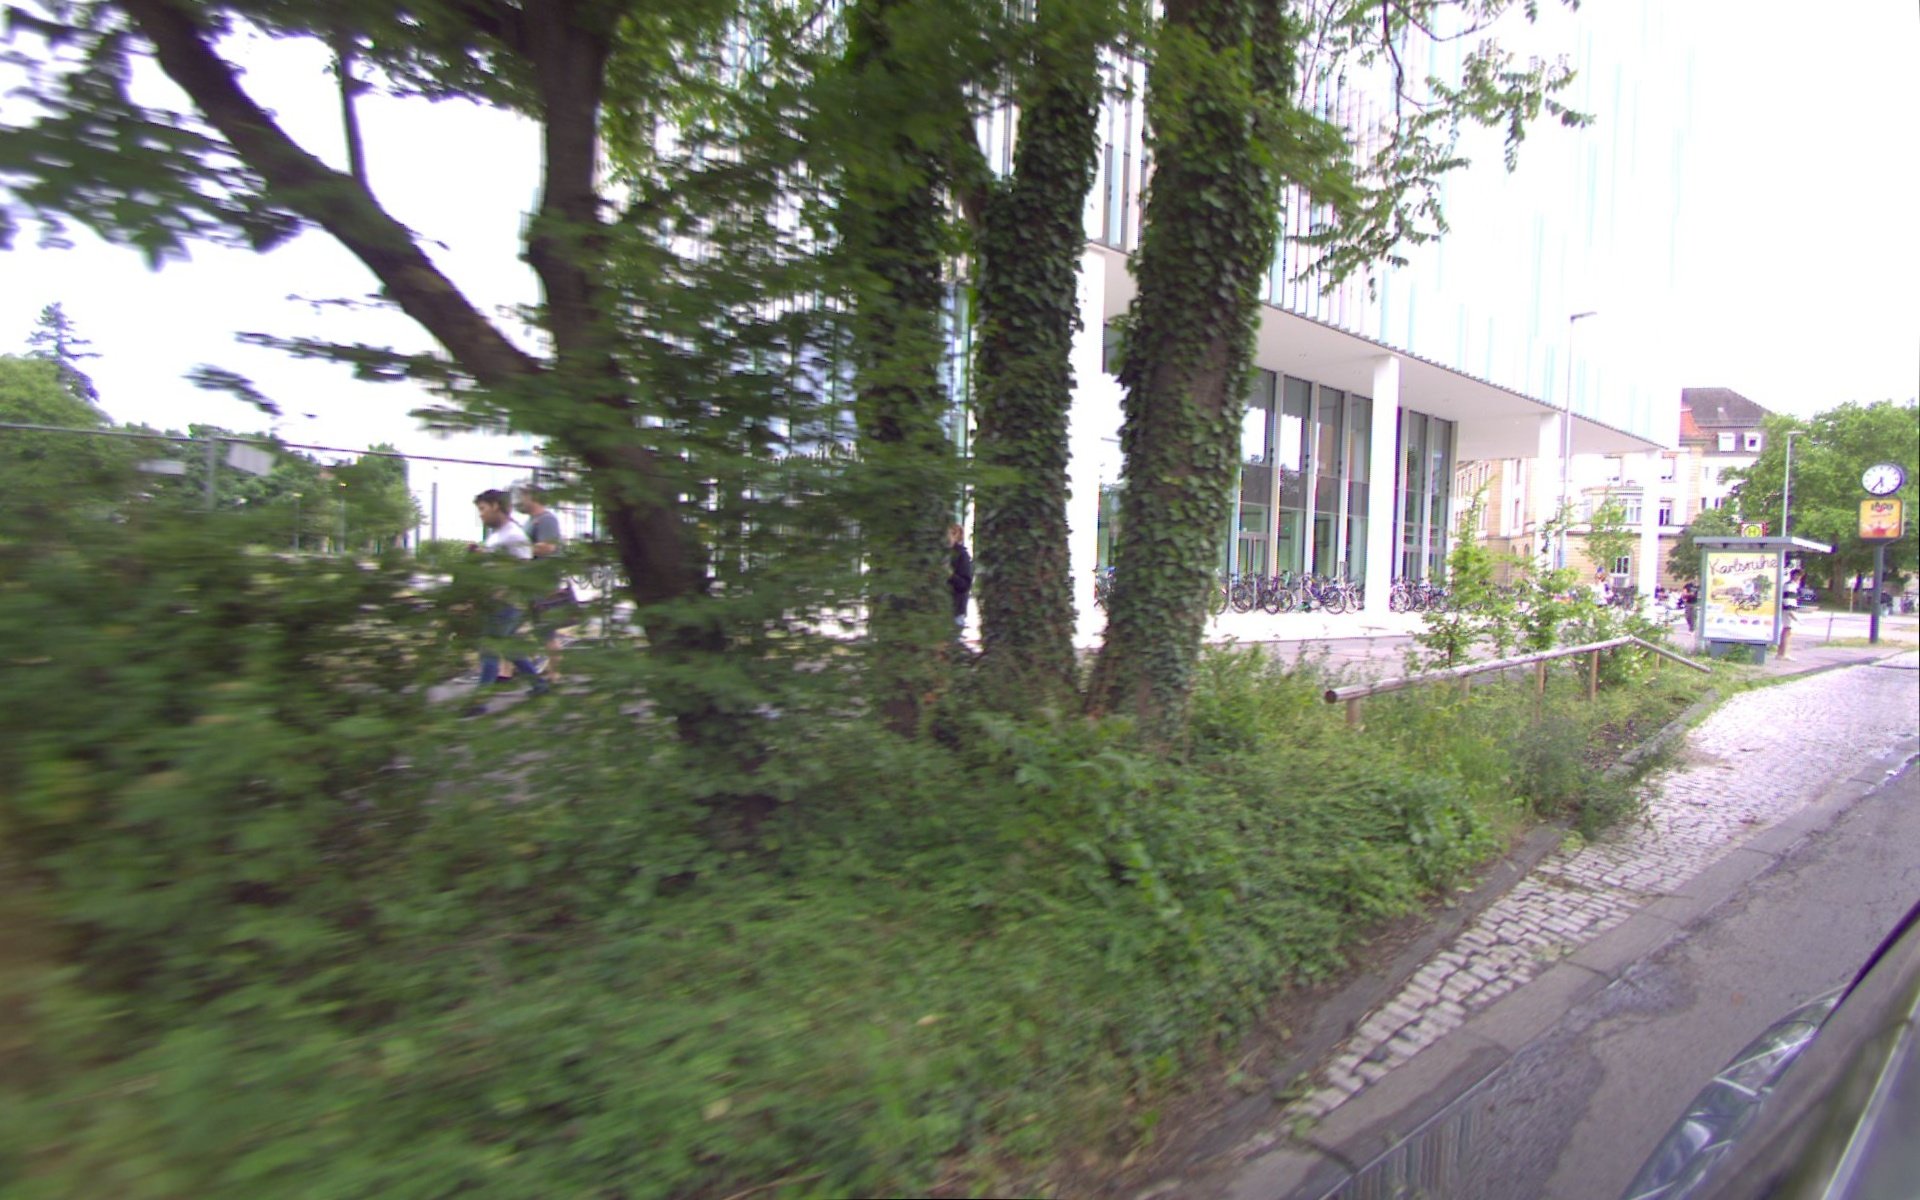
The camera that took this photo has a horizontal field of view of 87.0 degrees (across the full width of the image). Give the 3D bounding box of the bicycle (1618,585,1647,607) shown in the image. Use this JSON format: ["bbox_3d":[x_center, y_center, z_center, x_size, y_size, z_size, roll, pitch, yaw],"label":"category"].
[{"bbox_3d":[33.804,-0.185,50.837,1.806,1.075,0.640,0,0,-36],"label":"bicycle"}]

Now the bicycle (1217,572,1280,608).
[{"bbox_3d":[7.825,-0.283,27.523,0.507,0.895,1.607,1,2,-40],"label":"bicycle"}]

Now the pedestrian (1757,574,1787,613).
[{"bbox_3d":[44.339,-0.355,55.297,1.177,2.088,1.121,1,0,35],"label":"pedestrian"}]

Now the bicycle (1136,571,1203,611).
[{"bbox_3d":[5.153,-0.241,24.976,0.546,0.885,1.610,1,3,-39],"label":"bicycle"}]

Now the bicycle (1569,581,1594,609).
[{"bbox_3d":[25.675,-0.198,41.780,0.606,1.093,1.936,6,4,37],"label":"bicycle"}]

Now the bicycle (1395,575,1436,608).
[{"bbox_3d":[15.693,-0.304,34.884,0.426,1.062,1.203,1,3,-34],"label":"bicycle"}]

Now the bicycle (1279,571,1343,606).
[{"bbox_3d":[9.874,-0.320,28.505,0.546,0.885,1.610,1,3,-39],"label":"bicycle"}]

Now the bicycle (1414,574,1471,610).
[{"bbox_3d":[16.754,-0.287,35.198,0.561,1.115,1.650,1,4,-37],"label":"bicycle"}]

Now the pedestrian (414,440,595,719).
[{"bbox_3d":[-3.634,-0.171,8.074,1.023,2.038,0.926,0,3,-45],"label":"pedestrian"}]

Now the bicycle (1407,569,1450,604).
[{"bbox_3d":[17.650,-0.530,38.181,0.636,1.158,1.989,4,3,0],"label":"bicycle"}]

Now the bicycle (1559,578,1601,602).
[{"bbox_3d":[37.191,-0.614,60.748,1.991,1.322,0.639,5,1,29],"label":"bicycle"}]

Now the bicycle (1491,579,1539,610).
[{"bbox_3d":[20.768,-0.210,37.858,0.549,1.056,1.404,1,4,-40],"label":"bicycle"}]

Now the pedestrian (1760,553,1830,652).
[{"bbox_3d":[18.126,0.057,21.967,0.839,2.038,0.914,3,2,-42],"label":"pedestrian"}]

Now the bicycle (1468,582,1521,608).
[{"bbox_3d":[19.716,-0.186,37.331,0.546,0.885,1.610,1,3,-39],"label":"bicycle"}]

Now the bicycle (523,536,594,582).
[{"bbox_3d":[-13.017,-1.335,32.818,2.006,1.411,0.670,1,2,-37],"label":"bicycle"}]

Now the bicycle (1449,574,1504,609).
[{"bbox_3d":[18.824,-0.327,36.892,0.561,1.104,1.652,1,5,-32],"label":"bicycle"}]

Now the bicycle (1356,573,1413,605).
[{"bbox_3d":[13.984,-0.372,33.374,0.506,0.958,1.698,1,2,-34],"label":"bicycle"}]

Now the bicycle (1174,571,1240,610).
[{"bbox_3d":[6.336,-0.257,26.015,0.546,0.885,1.610,1,3,-39],"label":"bicycle"}]

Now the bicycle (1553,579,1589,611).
[{"bbox_3d":[23.917,-0.207,39.586,0.636,1.154,2.165,7,5,44],"label":"bicycle"}]

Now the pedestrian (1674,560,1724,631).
[{"bbox_3d":[21.992,-0.142,30.118,0.878,2.037,0.845,1,4,-39],"label":"pedestrian"}]

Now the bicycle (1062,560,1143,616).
[{"bbox_3d":[3.190,-0.286,22.793,0.615,1.094,1.798,1,5,-42],"label":"bicycle"}]

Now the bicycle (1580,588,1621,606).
[{"bbox_3d":[36.291,-0.191,57.377,1.811,0.910,0.672,2,2,1],"label":"bicycle"}]

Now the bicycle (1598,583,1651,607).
[{"bbox_3d":[34.781,-0.276,52.963,2.146,1.129,0.735,3,2,7],"label":"bicycle"}]

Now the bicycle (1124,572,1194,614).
[{"bbox_3d":[4.717,-0.170,24.023,0.546,0.885,1.610,1,3,-39],"label":"bicycle"}]

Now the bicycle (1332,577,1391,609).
[{"bbox_3d":[11.896,-0.220,30.009,0.546,0.844,1.536,1,3,-39],"label":"bicycle"}]

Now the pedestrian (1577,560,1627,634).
[{"bbox_3d":[16.778,-0.092,26.461,0.879,1.858,0.843,0,2,-44],"label":"pedestrian"}]

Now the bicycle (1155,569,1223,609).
[{"bbox_3d":[5.688,-0.284,25.234,0.546,0.885,1.611,1,4,-39],"label":"bicycle"}]

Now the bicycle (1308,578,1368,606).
[{"bbox_3d":[11.177,-0.244,29.934,0.546,0.725,1.564,1,3,-39],"label":"bicycle"}]

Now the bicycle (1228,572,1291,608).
[{"bbox_3d":[8.243,-0.286,27.894,0.546,0.885,1.610,1,4,-39],"label":"bicycle"}]

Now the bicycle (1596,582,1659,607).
[{"bbox_3d":[35.648,-0.284,54.073,2.674,1.202,0.773,3,2,8],"label":"bicycle"}]

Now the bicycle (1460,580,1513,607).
[{"bbox_3d":[19.112,-0.251,36.776,0.546,0.885,1.611,1,3,-37],"label":"bicycle"}]

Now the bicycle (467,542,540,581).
[{"bbox_3d":[-17.449,-1.459,38.721,2.425,1.411,0.817,1,2,-37],"label":"bicycle"}]

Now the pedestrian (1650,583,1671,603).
[{"bbox_3d":[46.167,-0.476,66.674,0.862,1.273,0.911,1,0,-37],"label":"pedestrian"}]

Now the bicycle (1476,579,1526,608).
[{"bbox_3d":[20.892,-0.253,39.116,0.557,0.947,1.615,2,4,-30],"label":"bicycle"}]

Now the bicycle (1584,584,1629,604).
[{"bbox_3d":[36.090,-0.364,56.524,1.927,1.014,0.773,3,2,8],"label":"bicycle"}]

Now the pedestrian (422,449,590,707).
[{"bbox_3d":[-3.904,-0.199,8.703,1.023,2.038,0.926,0,3,-45],"label":"pedestrian"}]

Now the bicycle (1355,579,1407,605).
[{"bbox_3d":[13.651,-0.259,32.830,0.546,0.755,1.438,1,3,-39],"label":"bicycle"}]

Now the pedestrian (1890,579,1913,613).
[{"bbox_3d":[58.207,-0.247,62.555,0.878,2.038,0.845,1,2,-39],"label":"pedestrian"}]

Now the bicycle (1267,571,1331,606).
[{"bbox_3d":[9.423,-0.323,28.141,0.546,0.885,1.610,1,3,-39],"label":"bicycle"}]

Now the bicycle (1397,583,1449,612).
[{"bbox_3d":[15.912,-0.109,34.792,0.360,0.907,1.610,1,3,-39],"label":"bicycle"}]

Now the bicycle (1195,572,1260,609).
[{"bbox_3d":[7.102,-0.271,26.922,0.546,0.885,1.610,1,3,-39],"label":"bicycle"}]

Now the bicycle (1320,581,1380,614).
[{"bbox_3d":[11.099,-0.079,28.831,0.546,0.849,1.458,1,3,-39],"label":"bicycle"}]

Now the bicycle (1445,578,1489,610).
[{"bbox_3d":[17.940,-0.218,35.818,0.539,1.020,1.247,1,3,-36],"label":"bicycle"}]

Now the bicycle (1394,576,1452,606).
[{"bbox_3d":[15.022,-0.292,32.863,0.546,0.885,1.610,1,3,-39],"label":"bicycle"}]

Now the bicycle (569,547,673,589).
[{"bbox_3d":[-10.137,-0.957,30.321,2.739,1.143,1.034,1,3,-37],"label":"bicycle"}]

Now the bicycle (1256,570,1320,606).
[{"bbox_3d":[8.986,-0.326,27.770,0.546,0.885,1.610,1,3,-39],"label":"bicycle"}]

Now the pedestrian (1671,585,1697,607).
[{"bbox_3d":[41.004,-0.210,57.325,0.828,1.208,0.896,1,2,-26],"label":"pedestrian"}]

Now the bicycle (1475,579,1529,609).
[{"bbox_3d":[20.175,-0.235,37.698,0.546,0.994,1.611,1,5,-39],"label":"bicycle"}]
